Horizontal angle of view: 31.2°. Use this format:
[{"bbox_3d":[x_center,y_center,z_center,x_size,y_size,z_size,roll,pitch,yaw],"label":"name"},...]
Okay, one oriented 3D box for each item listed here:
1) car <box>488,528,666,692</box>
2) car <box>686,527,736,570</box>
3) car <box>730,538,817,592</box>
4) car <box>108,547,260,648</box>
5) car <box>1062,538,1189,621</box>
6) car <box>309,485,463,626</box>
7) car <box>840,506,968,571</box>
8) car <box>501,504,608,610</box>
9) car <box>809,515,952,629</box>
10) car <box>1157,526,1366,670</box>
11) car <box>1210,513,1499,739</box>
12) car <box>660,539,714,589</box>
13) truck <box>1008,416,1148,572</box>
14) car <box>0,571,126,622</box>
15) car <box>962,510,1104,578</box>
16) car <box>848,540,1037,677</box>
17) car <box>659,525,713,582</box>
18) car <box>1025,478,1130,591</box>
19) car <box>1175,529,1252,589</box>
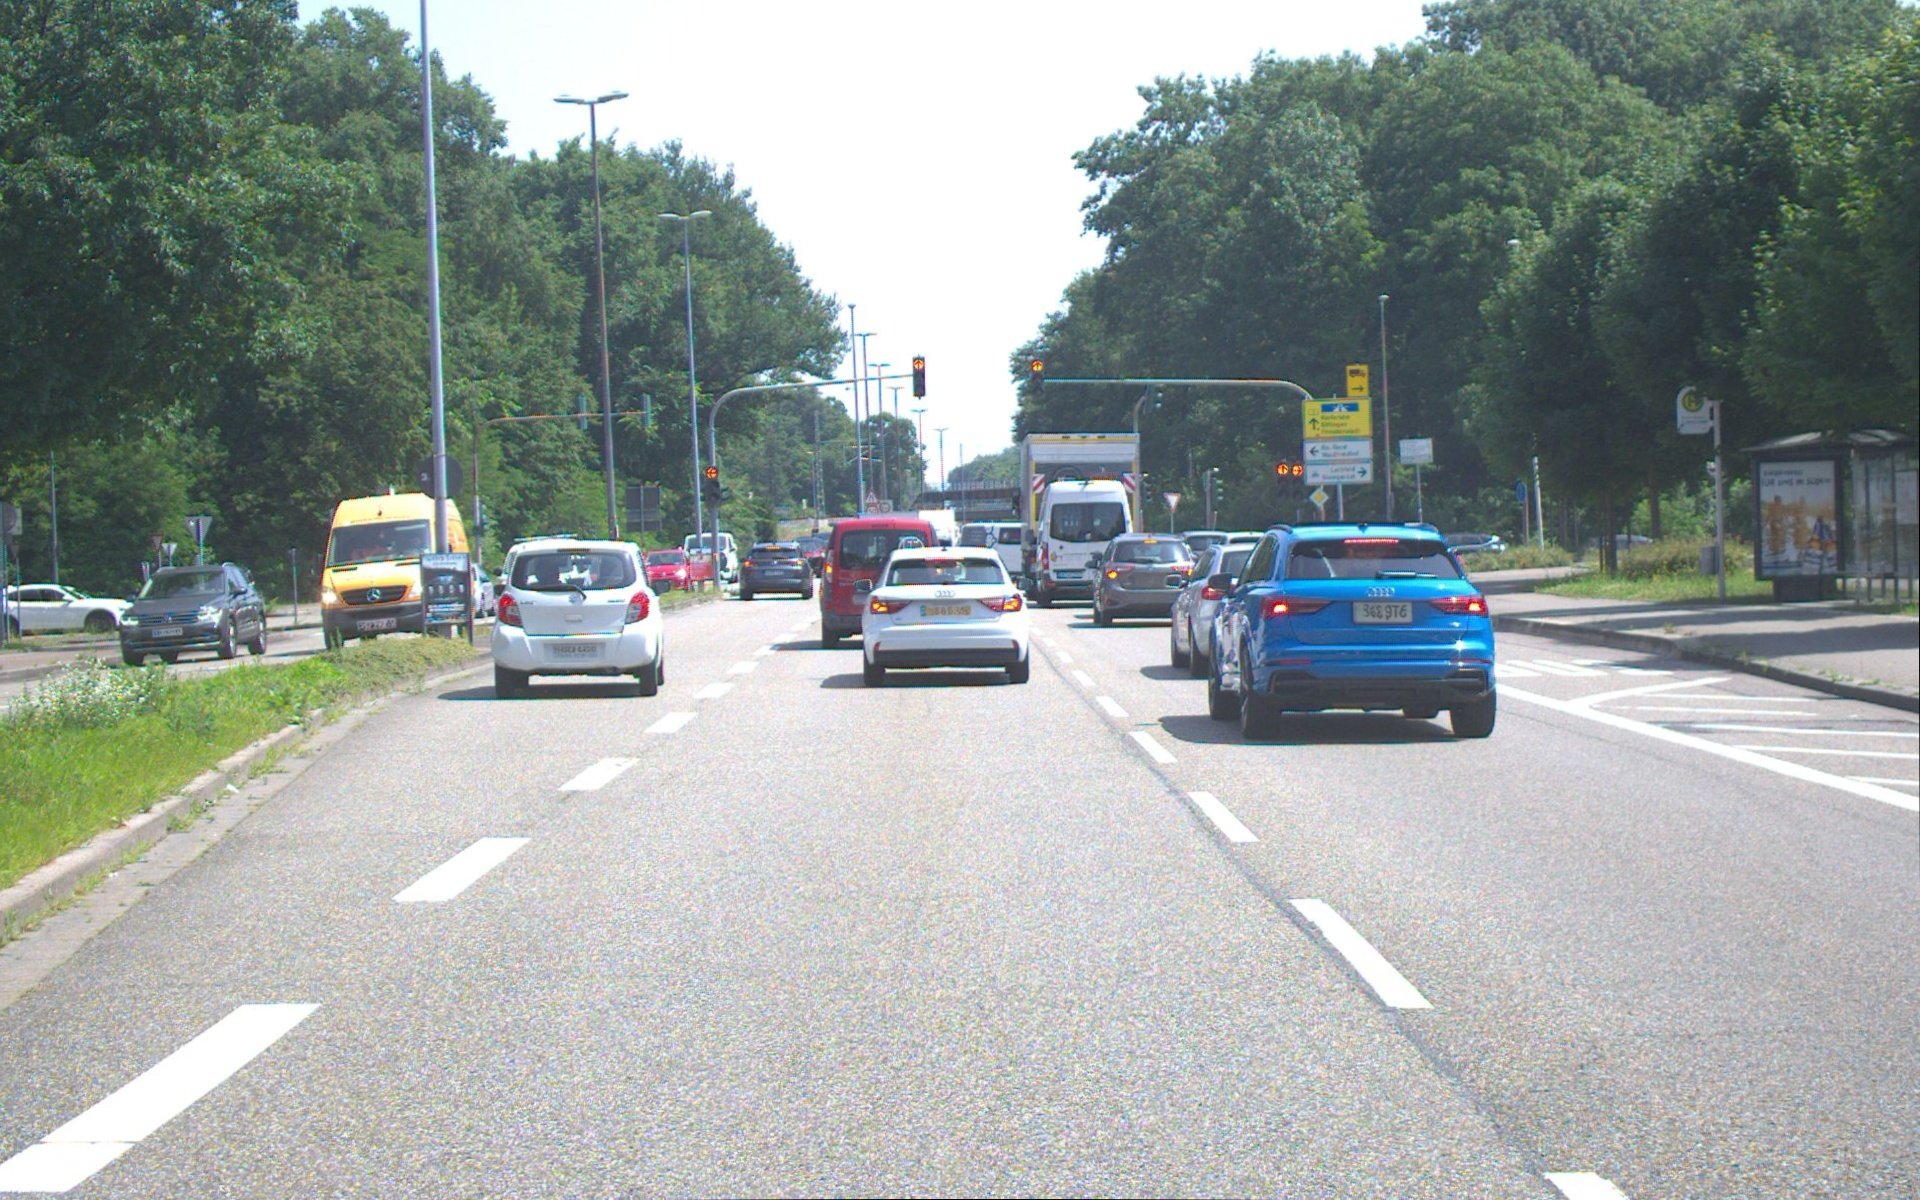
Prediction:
[{"bbox_3d":[-3.837,0.078,34.825,1.638,1.547,3.325,-1,1,-4],"label":"car"},{"bbox_3d":[-9.593,-1.993,132.692,1.595,1.577,3.772,-2,1,0],"label":"car"},{"bbox_3d":[-4.766,-0.913,88.116,1.993,1.284,4.000,-2,1,0],"label":"car"},{"bbox_3d":[-13.226,-0.063,58.797,1.710,1.656,4.000,-1,1,-1],"label":"car"},{"bbox_3d":[2.725,-0.354,57.521,1.865,1.305,4.000,-1,1,-1],"label":"car"},{"bbox_3d":[-9.715,-0.758,58.522,1.779,2.274,4.752,-1,1,0],"label":"car"},{"bbox_3d":[-1.862,-2.019,113.552,1.995,2.007,3.998,-3,2,-43],"label":"car"},{"bbox_3d":[-9.032,-0.956,76.815,1.779,2.274,4.000,-1,1,2],"label":"car"},{"bbox_3d":[-1.163,-0.395,48.495,1.794,1.518,4.001,-1,1,-4],"label":"car"},{"bbox_3d":[3.244,-0.043,37.643,1.865,1.468,4.000,-1,1,-1],"label":"car"},{"bbox_3d":[2.969,0.163,26.682,1.809,1.587,4.349,-1,1,1],"label":"car"},{"bbox_3d":[-7.488,-1.003,94.320,1.368,1.304,2.694,-2,1,-3],"label":"car"},{"bbox_3d":[2.779,-2.530,83.508,2.932,3.490,9.158,-2,1,0],"label":"truck"},{"bbox_3d":[-27.314,-0.102,103.678,3.986,1.393,1.590,-2,1,-7],"label":"car"},{"bbox_3d":[2.327,-1.790,109.926,3.992,2.007,1.997,-1,1,27],"label":"car"},{"bbox_3d":[-0.180,0.063,36.713,1.885,1.349,4.000,-1,1,0],"label":"car"},{"bbox_3d":[-8.978,-1.526,112.679,1.618,1.777,3.116,-2,1,-3],"label":"car"},{"bbox_3d":[2.455,-1.396,72.945,1.993,2.248,4.000,-2,1,0],"label":"car"},{"bbox_3d":[6.550,-1.081,89.008,1.633,1.459,4.000,-2,1,0],"label":"car"}]
